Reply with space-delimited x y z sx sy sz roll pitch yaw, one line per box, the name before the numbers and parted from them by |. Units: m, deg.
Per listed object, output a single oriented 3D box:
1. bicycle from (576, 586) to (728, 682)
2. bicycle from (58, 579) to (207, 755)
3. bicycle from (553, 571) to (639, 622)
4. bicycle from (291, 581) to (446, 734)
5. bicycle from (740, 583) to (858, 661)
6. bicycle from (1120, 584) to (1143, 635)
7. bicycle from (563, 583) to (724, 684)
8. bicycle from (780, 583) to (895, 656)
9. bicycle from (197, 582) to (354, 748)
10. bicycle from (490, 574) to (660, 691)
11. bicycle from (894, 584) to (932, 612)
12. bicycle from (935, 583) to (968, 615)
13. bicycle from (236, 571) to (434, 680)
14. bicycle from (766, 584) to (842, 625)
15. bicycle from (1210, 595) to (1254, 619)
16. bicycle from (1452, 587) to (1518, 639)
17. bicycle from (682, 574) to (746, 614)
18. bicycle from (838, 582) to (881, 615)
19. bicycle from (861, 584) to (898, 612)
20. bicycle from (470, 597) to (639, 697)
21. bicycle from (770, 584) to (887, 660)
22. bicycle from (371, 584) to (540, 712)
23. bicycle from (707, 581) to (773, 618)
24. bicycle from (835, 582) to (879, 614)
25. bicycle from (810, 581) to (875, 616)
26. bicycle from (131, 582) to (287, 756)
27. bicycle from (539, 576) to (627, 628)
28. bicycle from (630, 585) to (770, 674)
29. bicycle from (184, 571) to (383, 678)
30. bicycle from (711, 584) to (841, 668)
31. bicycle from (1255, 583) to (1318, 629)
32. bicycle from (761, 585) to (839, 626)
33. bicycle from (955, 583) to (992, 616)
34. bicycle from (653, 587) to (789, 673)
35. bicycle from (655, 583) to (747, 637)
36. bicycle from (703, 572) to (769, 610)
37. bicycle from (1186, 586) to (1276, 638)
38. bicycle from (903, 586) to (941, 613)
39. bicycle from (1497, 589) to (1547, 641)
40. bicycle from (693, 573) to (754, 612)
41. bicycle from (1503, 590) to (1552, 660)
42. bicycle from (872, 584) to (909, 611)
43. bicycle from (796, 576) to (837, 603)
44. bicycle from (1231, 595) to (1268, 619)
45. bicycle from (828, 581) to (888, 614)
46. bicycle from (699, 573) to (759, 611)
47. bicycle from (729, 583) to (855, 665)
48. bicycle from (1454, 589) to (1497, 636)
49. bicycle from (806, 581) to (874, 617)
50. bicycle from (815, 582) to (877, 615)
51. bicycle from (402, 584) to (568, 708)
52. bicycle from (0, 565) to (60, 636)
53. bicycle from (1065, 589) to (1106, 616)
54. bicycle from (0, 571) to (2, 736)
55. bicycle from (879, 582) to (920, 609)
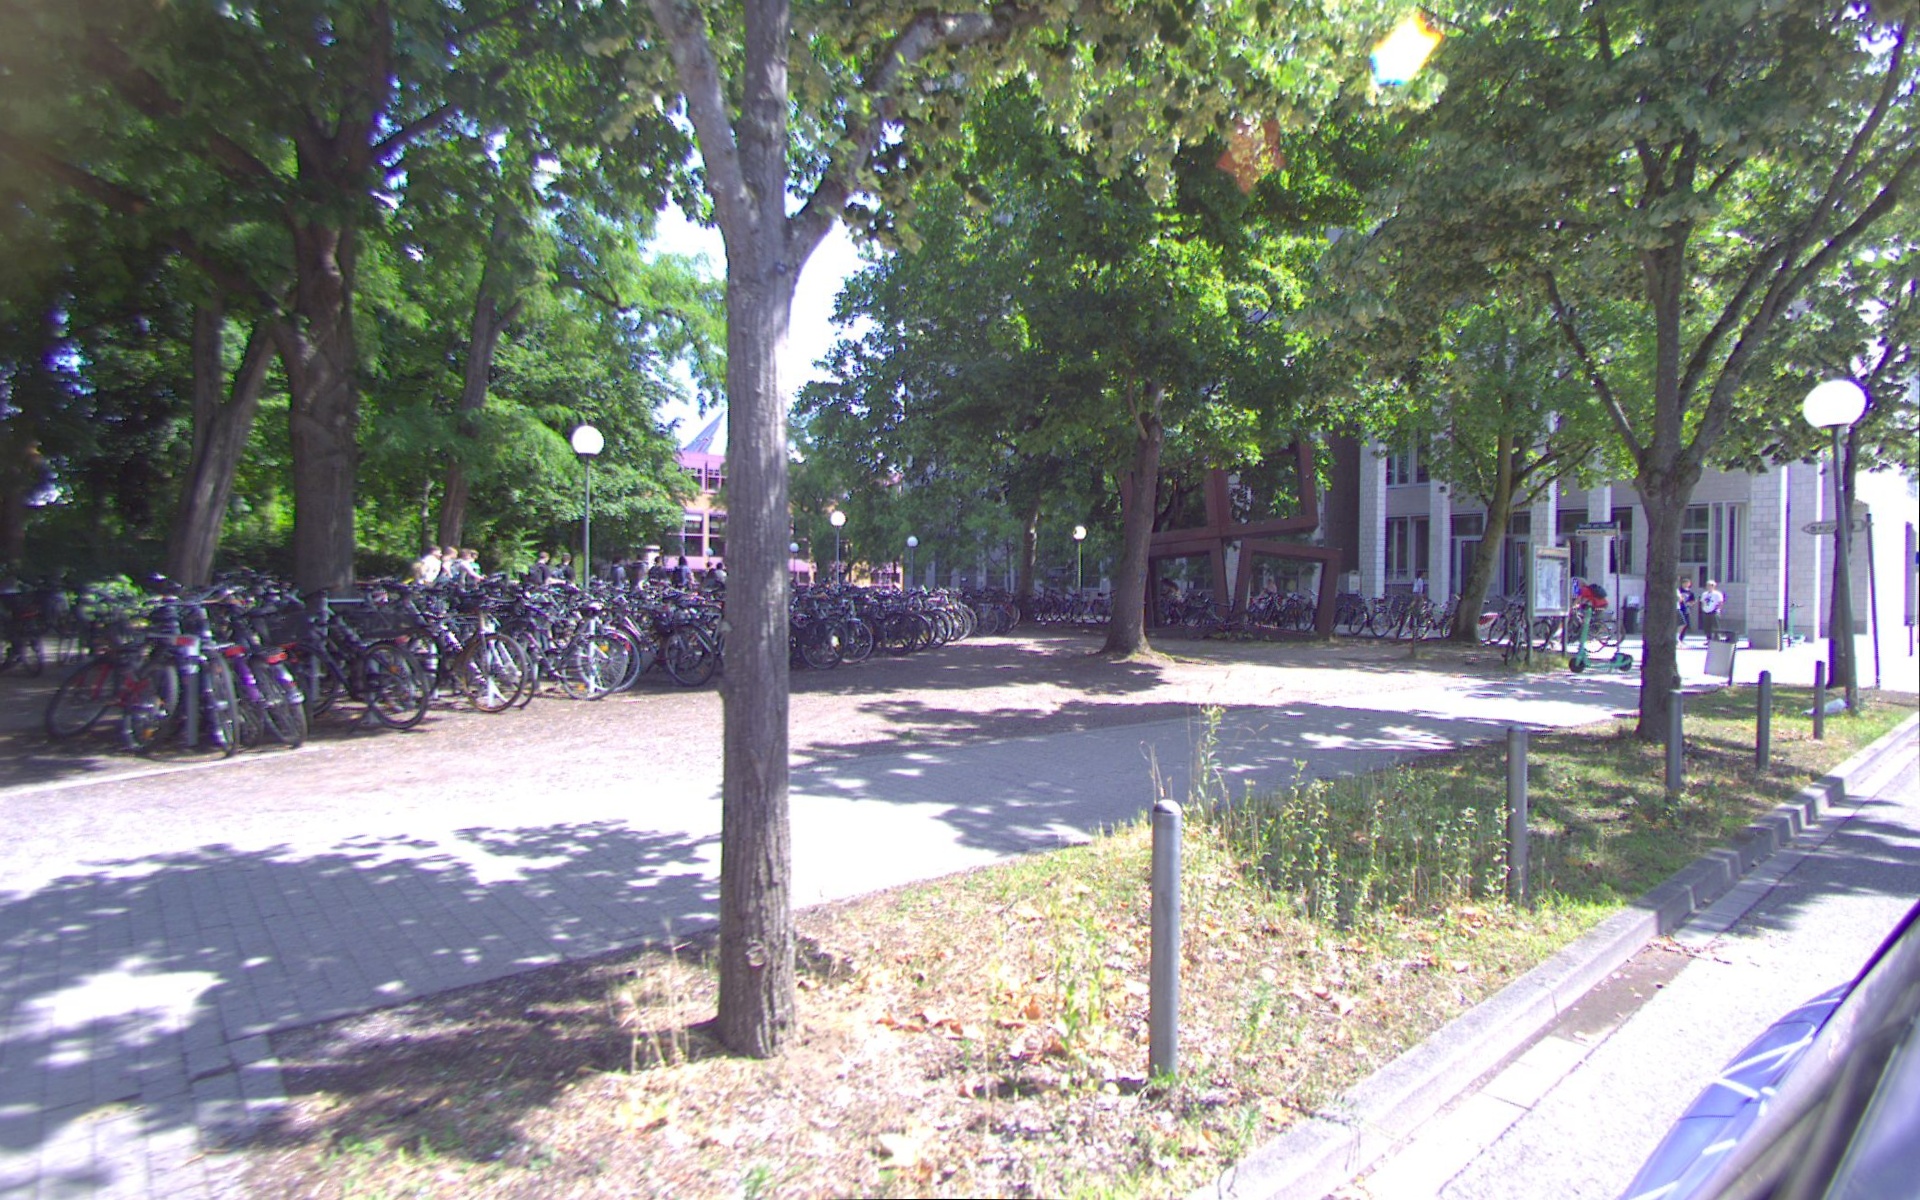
bicycle | -3.640 0.379 11.943 1.773 1.041 0.438 1 1 18
bicycle | -5.882 0.416 7.160 1.764 1.096 0.432 2 1 38
bicycle | -7.555 -0.088 20.983 1.880 0.991 0.376 2 2 20
bicycle | -4.856 0.413 8.253 1.939 1.096 0.399 2 1 38
bicycle | -2.417 0.311 15.167 1.772 1.083 0.423 2 1 22
bicycle | 4.047 0.208 23.792 0.468 1.123 1.665 0 2 12
bicycle | -3.570 0.358 11.429 1.712 1.065 0.492 1 1 13
bicycle | -1.947 0.298 16.079 1.766 1.083 0.425 1 1 14
bicycle | -5.198 0.429 7.636 1.939 1.096 0.399 2 1 38
bicycle | -4.128 0.324 10.852 1.712 1.169 0.492 1 1 13
bicycle | -1.938 -0.073 41.702 0.527 1.098 1.661 -2 -2 44
bicycle | -0.274 -0.047 35.341 0.350 1.097 1.453 1 1 36
bicycle | -6.857 0.235 11.217 0.474 1.096 1.885 2 2 28
bicycle | -4.035 0.118 26.157 1.871 0.991 0.478 2 2 6
bicycle | 10.554 0.268 39.244 1.739 0.911 0.449 1 -1 -23
bicycle | 12.549 0.312 24.204 1.494 1.155 0.493 3 1 -22
bicycle | -6.367 -0.164 26.166 1.571 0.991 0.403 2 2 10
bicycle | -3.385 -0.033 34.105 1.442 1.098 0.479 0 -2 -8
bicycle | -3.433 -0.092 43.348 0.549 1.165 1.661 -2 -2 44
bicycle | -4.148 0.455 10.331 1.717 0.921 0.491 2 1 21
bicycle | -2.017 0.320 15.450 1.772 1.083 0.423 2 1 22
bicycle | -4.694 0.411 9.366 1.895 1.072 0.322 2 1 27
bicycle | -6.256 -0.008 28.786 1.769 0.991 0.378 1 1 3
bicycle | -3.583 -0.065 35.244 1.450 1.098 0.451 -1 -2 15
bicycle | -3.519 -0.047 30.301 1.867 0.991 0.479 1 1 0
bicycle | -5.445 0.434 7.288 1.939 1.096 0.399 2 1 38
bicycle | -7.681 0.028 20.597 1.880 0.991 0.376 2 2 20
bicycle | -3.293 0.355 12.780 1.769 1.041 0.380 1 1 18
bicycle | -7.612 0.233 11.488 0.474 1.096 1.885 2 2 28
bicycle | -2.531 0.339 13.897 1.770 1.083 0.424 2 1 20
bicycle | 8.248 0.150 25.545 1.792 1.091 0.464 2 1 -33
bicycle | -4.071 0.130 25.772 1.871 0.991 0.478 2 2 6
bicycle | 0.462 -0.033 34.561 1.448 1.097 0.352 0 1 -45
bicycle | -3.097 0.372 13.091 1.769 1.041 0.379 1 1 18
bicycle | -5.122 0.190 19.996 1.880 0.991 0.376 2 2 20
bicycle | -6.276 -0.259 28.402 1.769 0.991 0.378 1 1 3
bicycle | 6.036 0.252 22.628 1.895 1.123 0.630 1 2 13
bicycle | -1.539 -0.008 41.348 0.527 1.098 1.661 -2 -2 44
bicycle | 13.248 0.357 23.838 1.465 1.155 0.560 2 1 -44
bicycle | -6.380 -0.218 27.285 1.571 0.991 0.403 2 2 10
bicycle | 9.966 0.417 17.810 0.622 1.097 1.674 -1 2 26
bicycle | -2.927 -0.086 42.770 0.527 1.098 1.661 -2 -2 44
bicycle | -5.871 -0.439 41.386 1.655 1.098 0.479 0 -2 -4
bicycle | 11.036 0.258 38.556 1.743 0.911 0.337 -1 0 -36
bicycle | -3.326 -0.084 32.947 1.874 0.991 0.477 2 2 12
bicycle | -6.309 -0.229 27.674 1.571 0.991 0.403 2 2 10
bicycle | -2.385 0.327 14.310 1.770 1.083 0.424 2 1 20
bicycle | 12.723 0.313 24.945 1.416 1.099 0.460 2 1 -44
bicycle | -3.450 -0.035 29.190 1.870 0.991 0.478 2 2 5
bicycle | -3.573 -0.045 31.768 1.867 0.991 0.479 1 1 0
bicycle | -4.551 0.406 9.638 1.895 1.072 0.322 2 1 27
bicycle | -15.428 -0.014 16.736 1.598 1.107 0.344 2 2 31
bicycle | 5.484 0.099 44.137 0.561 1.117 1.830 2 -1 -42
bicycle | -6.295 0.402 5.968 2.010 1.181 0.643 2 1 38
bicycle | -2.531 -0.168 42.126 1.654 1.098 0.529 1 -2 -31
